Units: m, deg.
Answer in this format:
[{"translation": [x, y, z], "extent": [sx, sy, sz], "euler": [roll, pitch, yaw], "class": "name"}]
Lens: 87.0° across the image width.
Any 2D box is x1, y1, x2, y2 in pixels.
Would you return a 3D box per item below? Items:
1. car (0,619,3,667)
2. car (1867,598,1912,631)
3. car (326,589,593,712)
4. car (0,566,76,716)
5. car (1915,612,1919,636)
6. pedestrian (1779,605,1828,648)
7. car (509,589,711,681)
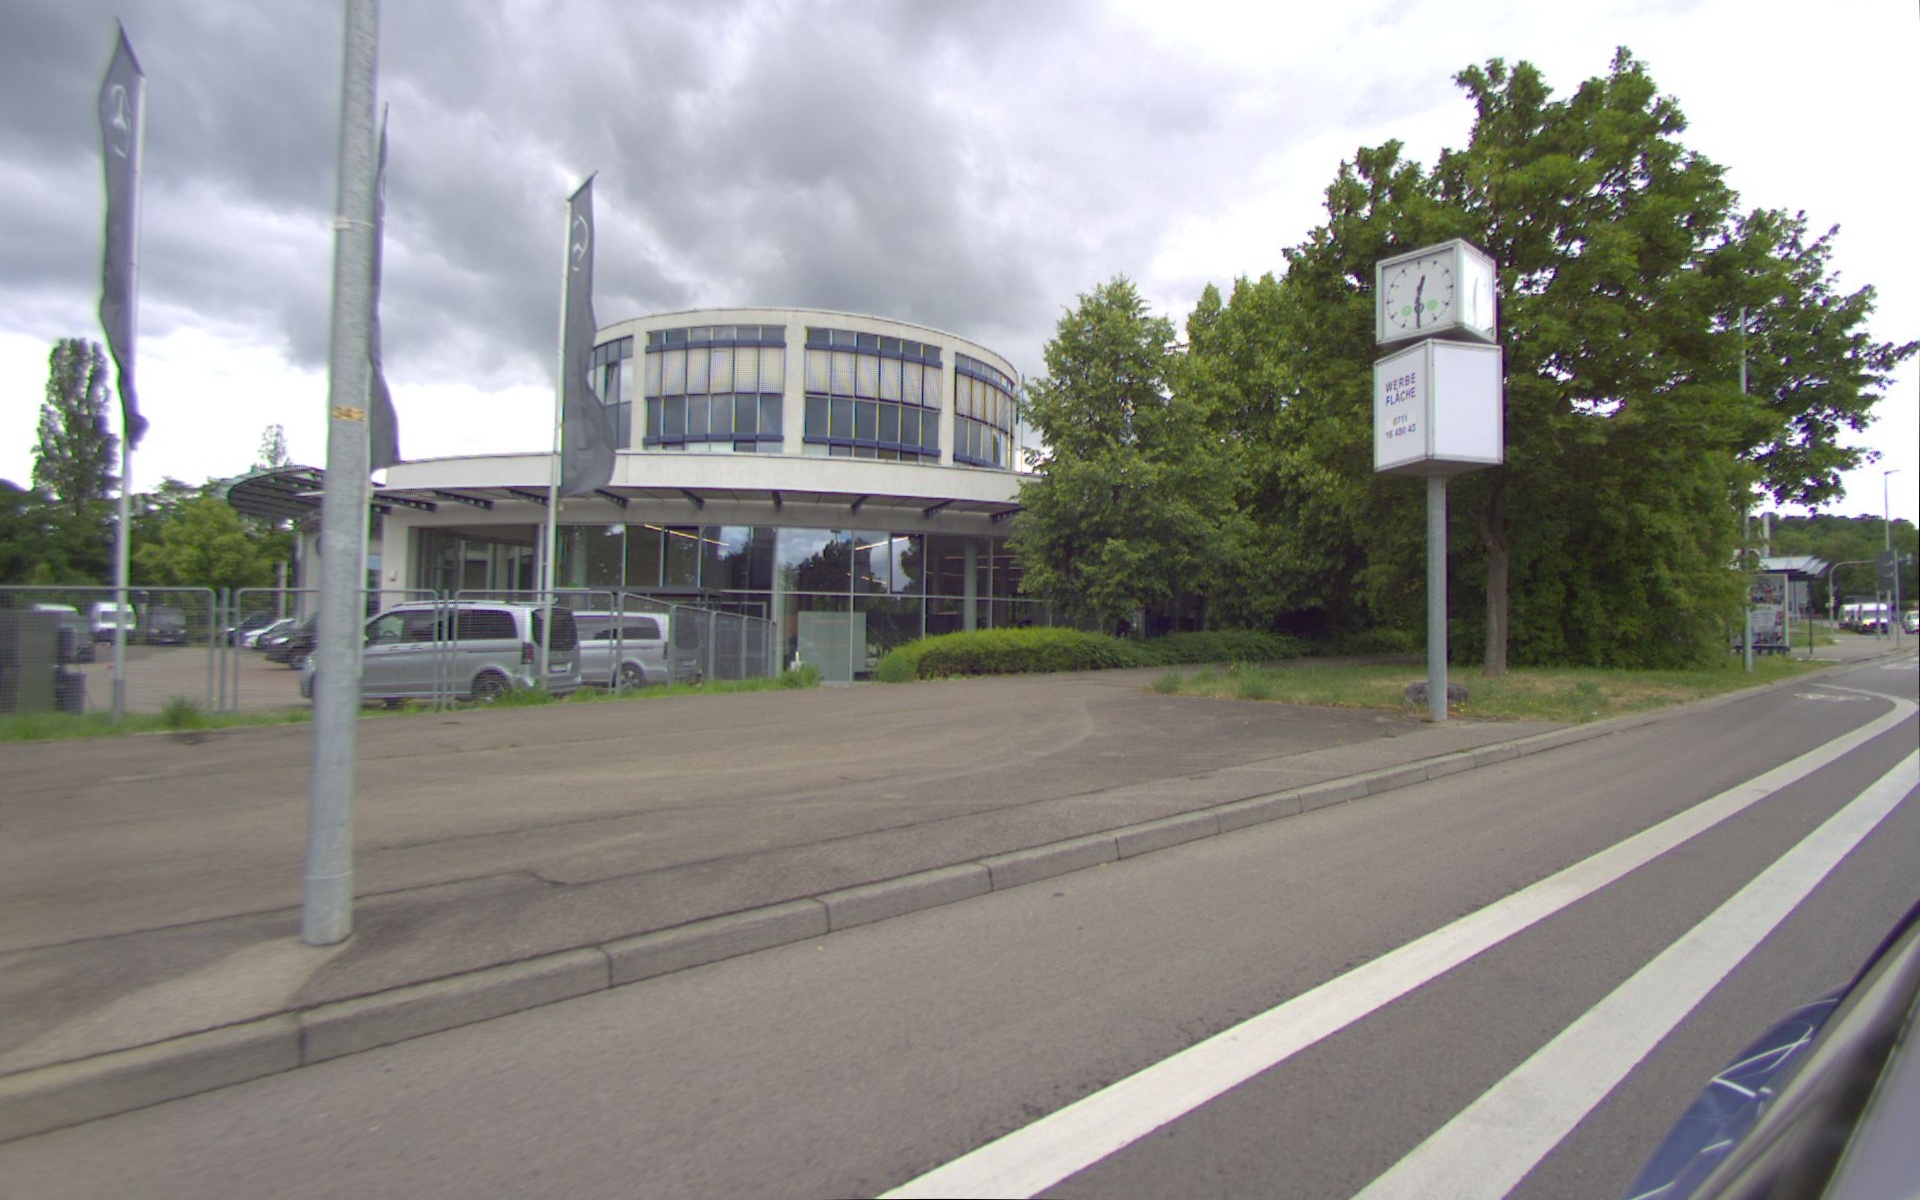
[{"translation": [-40.796, 1.752, 40.940], "extent": [1.959, 2.040, 4.004], "euler": [0, -2, -28], "class": "car"}, {"translation": [79.821, 1.289, 86.971], "extent": [2.215, 2.693, 5.879], "euler": [-3, -3, 37], "class": "car"}, {"translation": [-8.954, 0.861, 18.261], "extent": [3.936, 2.051, 1.994], "euler": [0, -1, 10], "class": "car"}, {"translation": [-14.540, 0.564, 12.805], "extent": [1.971, 2.051, 4.773], "euler": [-1, -1, 15], "class": "car"}, {"translation": [81.879, 1.969, 85.147], "extent": [2.113, 2.017, 4.908], "euler": [-5, -4, 44], "class": "car"}, {"translation": [25.041, 0.780, 30.054], "extent": [0.763, 1.269, 0.771], "euler": [-1, -2, 7], "class": "pedestrian"}, {"translation": [-7.989, 0.779, 23.281], "extent": [3.936, 1.981, 1.994], "euler": [0, -1, 10], "class": "car"}]
